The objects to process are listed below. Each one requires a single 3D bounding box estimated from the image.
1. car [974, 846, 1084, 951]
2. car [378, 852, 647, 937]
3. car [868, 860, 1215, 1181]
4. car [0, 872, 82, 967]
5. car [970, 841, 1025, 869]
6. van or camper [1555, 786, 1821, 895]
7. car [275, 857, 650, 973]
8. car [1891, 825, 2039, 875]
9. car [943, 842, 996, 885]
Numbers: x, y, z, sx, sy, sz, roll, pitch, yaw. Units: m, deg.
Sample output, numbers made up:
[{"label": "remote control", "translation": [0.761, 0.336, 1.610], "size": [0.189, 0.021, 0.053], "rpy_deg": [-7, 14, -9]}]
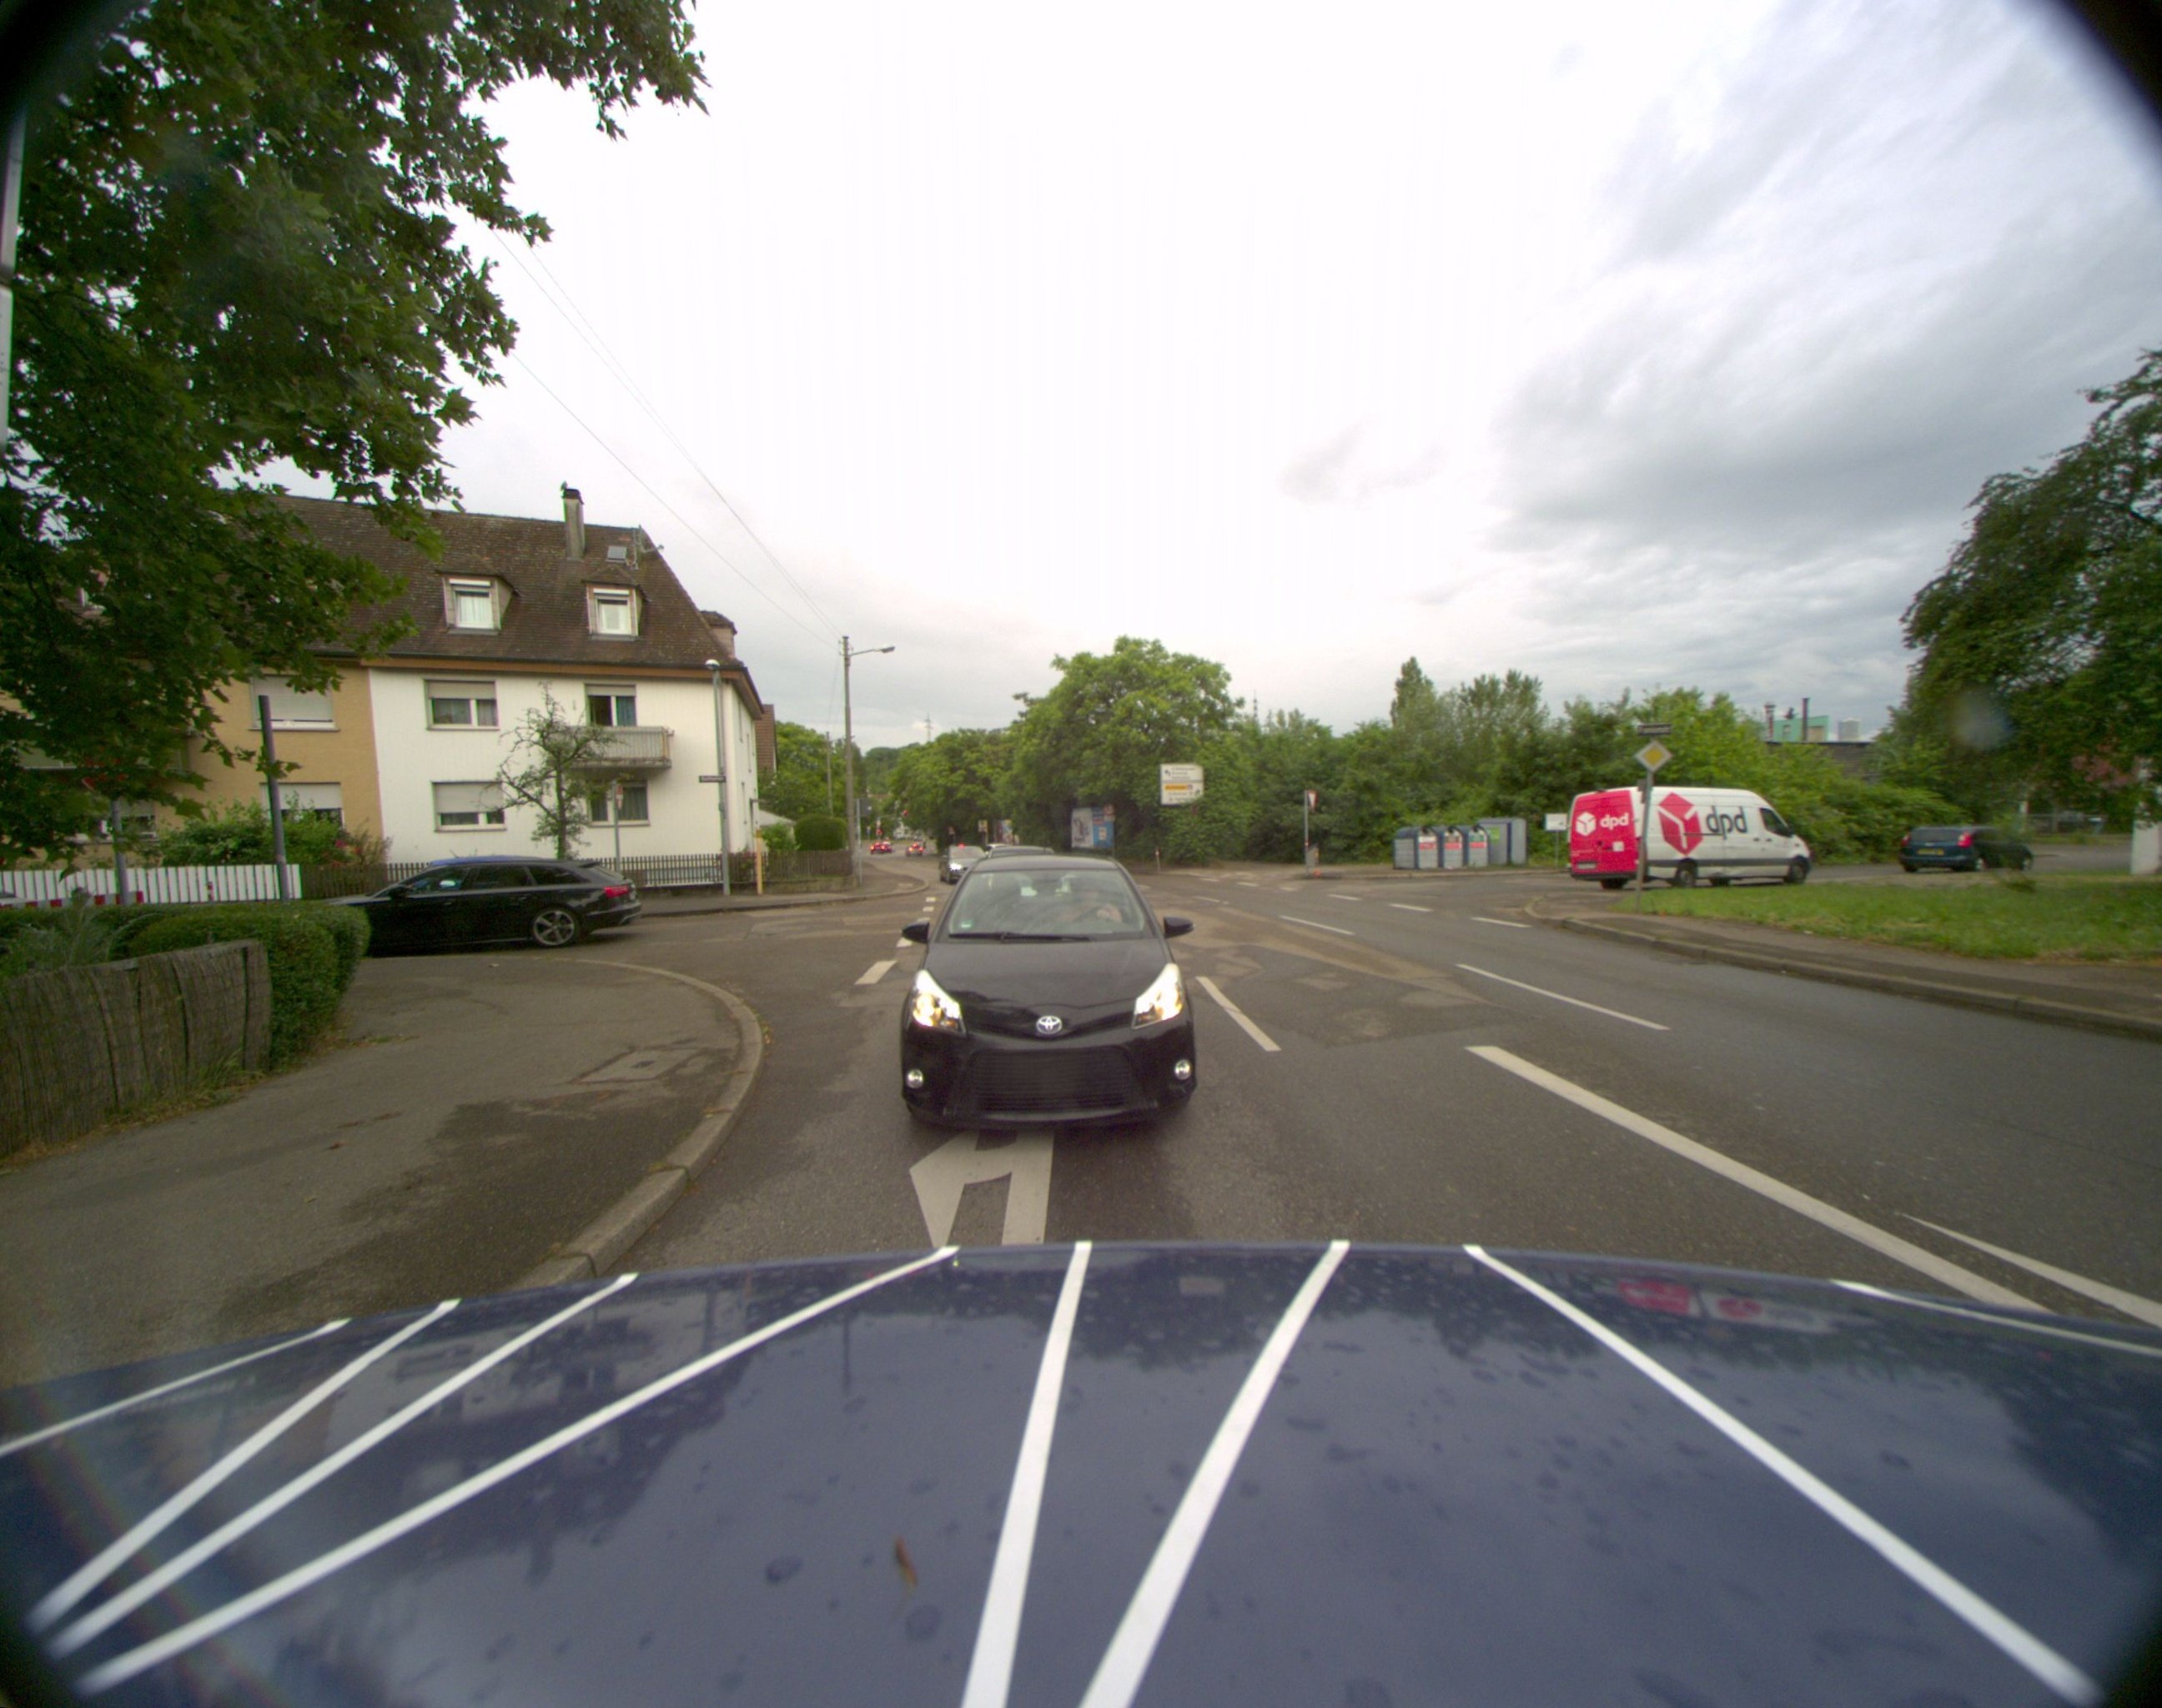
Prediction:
[{"label": "car", "translation": [-1.045, 0.661, 13.454], "size": [1.645, 1.549, 3.625], "rpy_deg": [-2, 1, -8]}, {"label": "car", "translation": [-11.276, 0.728, 15.464], "size": [4.004, 1.456, 1.857], "rpy_deg": [-1, 1, -23]}, {"label": "car", "translation": [-0.303, 0.820, 5.720], "size": [1.645, 1.450, 3.998], "rpy_deg": [-2, 0, -4]}, {"label": "car", "translation": [-19.798, 1.149, 12.031], "size": [4.396, 1.505, 1.996], "rpy_deg": [-2, 1, -19]}, {"label": "car", "translation": [-5.284, 0.039, 47.358], "size": [1.844, 1.549, 5.562], "rpy_deg": [-2, 1, -23]}, {"label": "van or camper", "translation": [15.900, -0.416, 19.868], "size": [6.703, 2.508, 2.219], "rpy_deg": [-2, 1, -19]}, {"label": "car", "translation": [-9.851, 0.881, 12.641], "size": [4.397, 1.505, 1.996], "rpy_deg": [-2, 1, -22]}, {"label": "car", "translation": [30.186, -0.171, 25.965], "size": [4.072, 1.521, 1.996], "rpy_deg": [-2, 1, -20]}, {"label": "car", "translation": [-4.480, 0.333, 30.192], "size": [1.709, 1.549, 3.995], "rpy_deg": [-2, 1, -13]}]
